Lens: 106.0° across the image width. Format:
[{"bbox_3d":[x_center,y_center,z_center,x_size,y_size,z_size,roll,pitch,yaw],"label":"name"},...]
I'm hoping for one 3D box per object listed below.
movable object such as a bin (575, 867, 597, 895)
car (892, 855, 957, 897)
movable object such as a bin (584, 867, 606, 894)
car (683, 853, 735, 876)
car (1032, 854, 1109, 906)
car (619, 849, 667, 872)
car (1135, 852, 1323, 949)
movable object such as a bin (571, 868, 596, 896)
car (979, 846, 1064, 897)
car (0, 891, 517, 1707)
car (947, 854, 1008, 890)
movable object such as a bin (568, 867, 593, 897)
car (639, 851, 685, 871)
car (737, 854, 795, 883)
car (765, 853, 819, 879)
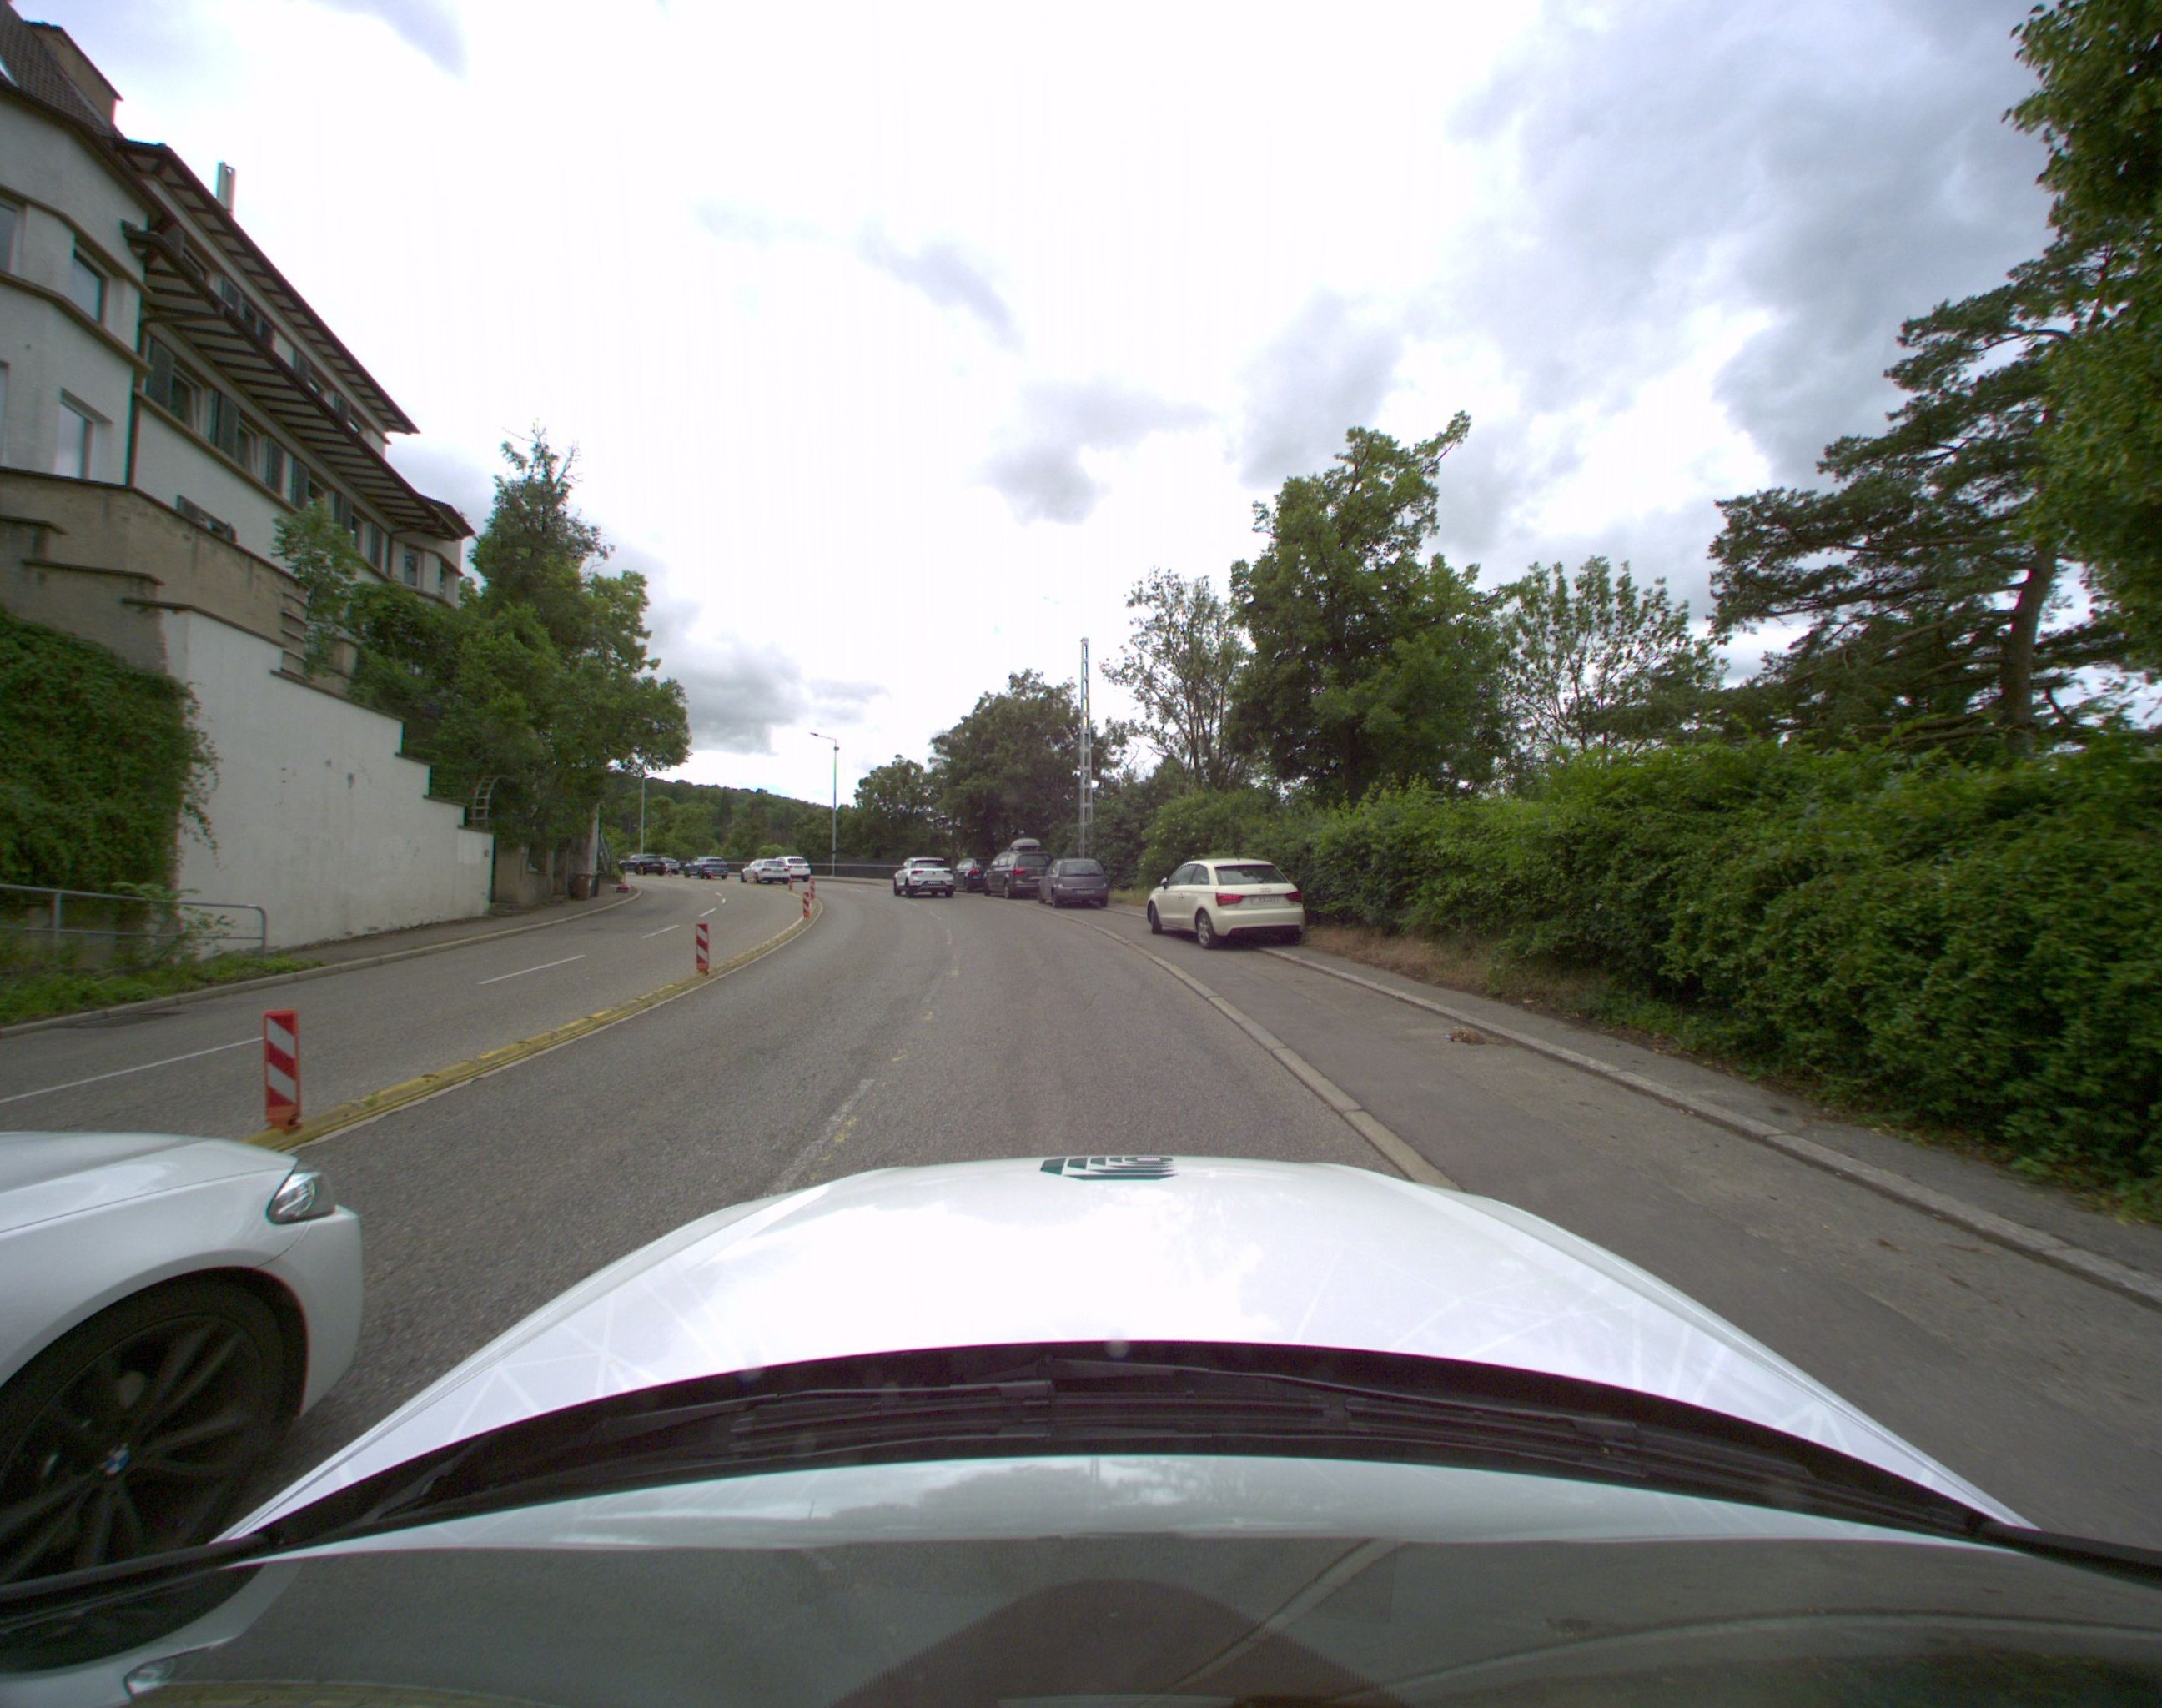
[{"bbox_3d":[-17.284,0.924,28.436,0.545,0.949,0.563,2,-1,-23],"label":"movable object such as a bin"},{"bbox_3d":[-6.302,0.810,32.543,1.874,1.536,3.776,-1,0,-22],"label":"car"},{"bbox_3d":[-17.415,0.947,29.186,0.545,0.949,0.563,2,-1,-23],"label":"movable object such as a bin"},{"bbox_3d":[-26.310,0.740,57.529,2.011,1.541,3.961,3,-1,-45],"label":"car"},{"bbox_3d":[-0.398,0.747,25.137,1.642,1.464,3.984,1,-1,-12],"label":"car"},{"bbox_3d":[-34.523,0.475,64.153,3.949,1.690,1.833,1,-1,39],"label":"car"},{"bbox_3d":[2.463,0.718,14.597,1.780,1.418,3.980,-2,0,-15],"label":"car"},{"bbox_3d":[-16.975,0.953,27.777,0.609,0.949,0.576,2,-1,-23],"label":"movable object such as a bin"},{"bbox_3d":[-2.324,0.611,30.427,1.806,1.772,4.572,1,0,-23],"label":"car"},{"bbox_3d":[-2.835,0.847,0.173,1.841,1.467,4.880,2,-1,2],"label":"car"},{"bbox_3d":[-4.614,0.758,35.881,1.666,1.487,4.005,1,0,-22],"label":"car"},{"bbox_3d":[-16.749,0.937,27.259,0.609,0.949,0.552,2,-1,-23],"label":"movable object such as a bin"},{"bbox_3d":[-35.323,0.608,68.672,3.492,1.525,1.710,1,-1,28],"label":"car"},{"bbox_3d":[-18.706,0.825,48.269,1.923,1.574,3.953,3,-1,-41],"label":"car"},{"bbox_3d":[-19.146,0.767,53.796,2.010,1.586,3.953,3,-1,-41],"label":"car"}]
